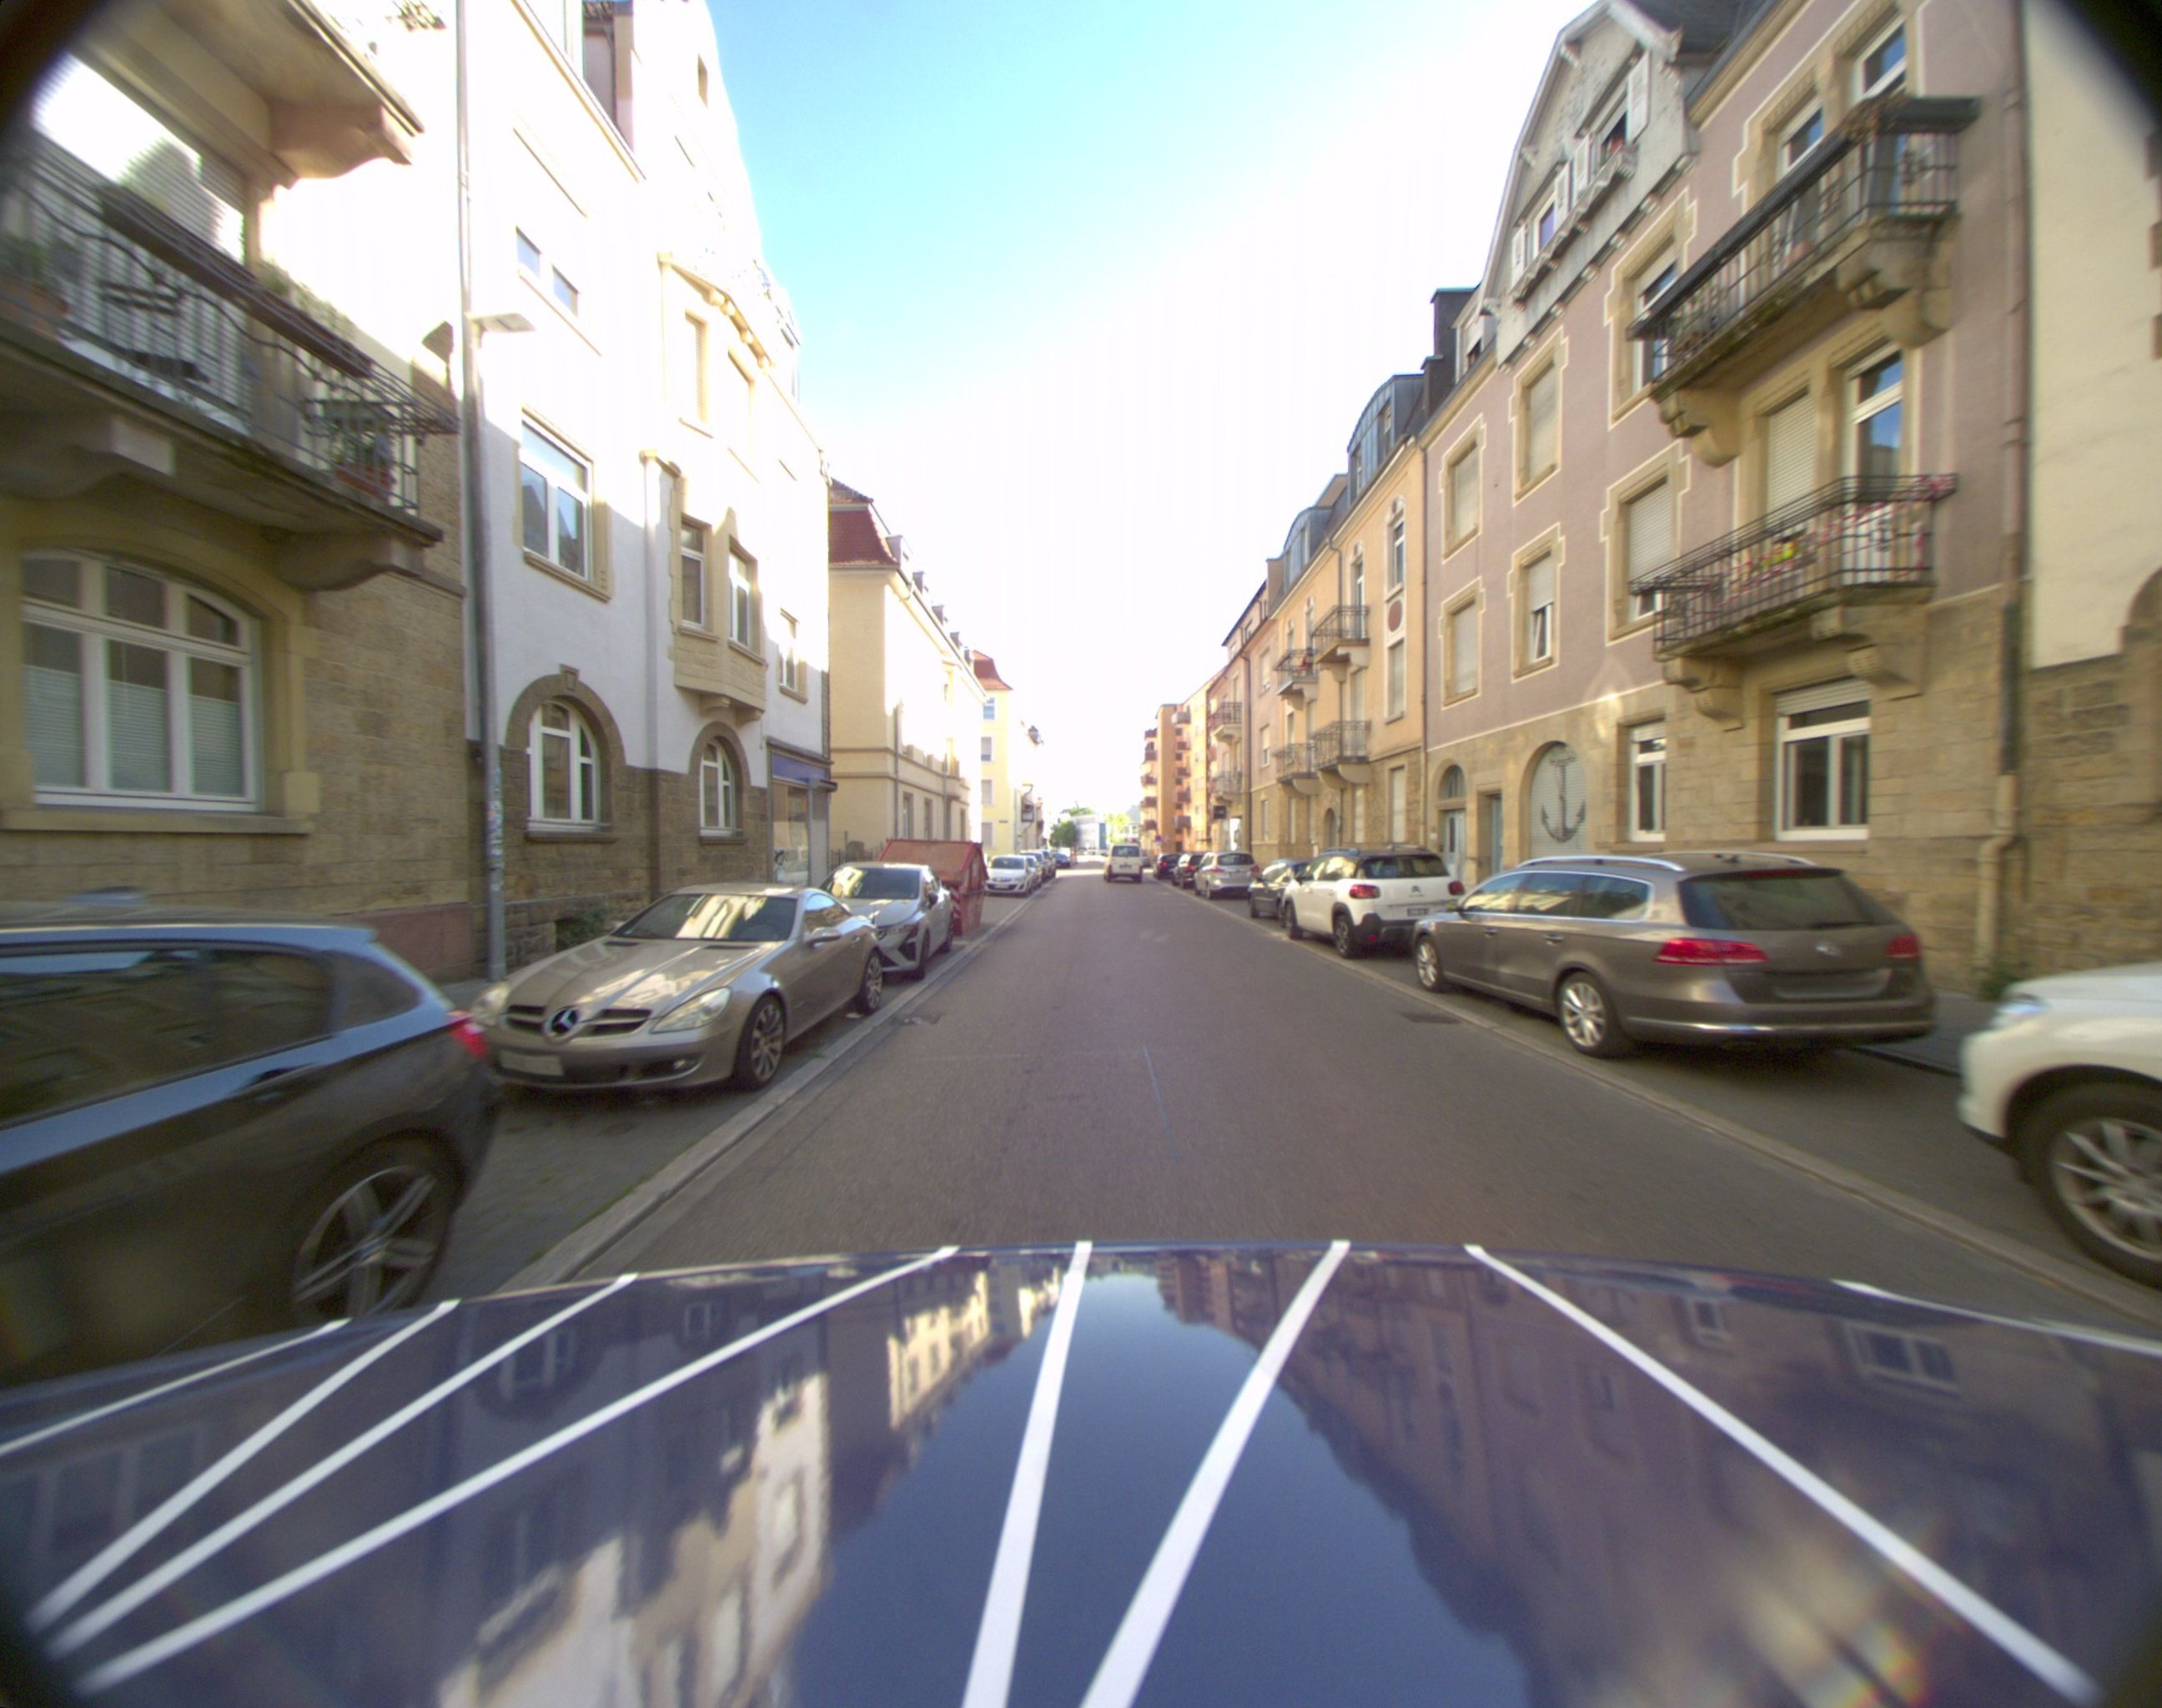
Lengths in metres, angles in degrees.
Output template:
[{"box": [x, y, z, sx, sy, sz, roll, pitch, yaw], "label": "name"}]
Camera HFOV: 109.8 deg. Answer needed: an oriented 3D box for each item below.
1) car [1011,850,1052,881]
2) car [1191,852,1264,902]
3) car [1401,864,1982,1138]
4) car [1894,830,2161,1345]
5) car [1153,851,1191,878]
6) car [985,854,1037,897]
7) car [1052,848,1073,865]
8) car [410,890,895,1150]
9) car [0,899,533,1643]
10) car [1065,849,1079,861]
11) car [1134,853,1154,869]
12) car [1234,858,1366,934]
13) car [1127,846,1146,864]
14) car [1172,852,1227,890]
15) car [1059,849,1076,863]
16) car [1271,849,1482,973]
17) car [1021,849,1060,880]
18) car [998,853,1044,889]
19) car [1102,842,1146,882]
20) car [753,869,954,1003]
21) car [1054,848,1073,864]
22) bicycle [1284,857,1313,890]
[{"box": [-2.505, 0.554, 39.325, 1.684, 1.537, 3.915, 1, 1, 3], "label": "car"}, {"box": [4.883, 0.714, 25.787, 1.719, 1.529, 3.723, -1, 0, -1], "label": "car"}, {"box": [4.498, 0.893, 6.607, 1.578, 1.479, 4.279, -2, 0, 0], "label": "car"}, {"box": [4.491, 0.772, 0.992, 1.896, 1.712, 4.726, -3, 0, 3], "label": "car"}, {"box": [5.068, 0.554, 42.731, 1.719, 1.378, 3.864, -4, 0, 2], "label": "car"}, {"box": [-2.496, 0.733, 27.866, 1.590, 1.456, 3.711, 0, 1, -1], "label": "car"}, {"box": [-1.646, 0.239, 68.117, 1.708, 1.417, 3.721, 1, 1, 0], "label": "car"}, {"box": [-2.921, 1.039, 6.292, 1.697, 1.247, 3.941, 0, 0, 2], "label": "car"}, {"box": [-3.066, 0.919, 0.954, 1.655, 1.434, 4.258, 0, 0, 0], "label": "car"}, {"box": [-1.116, 0.105, 98.355, 1.708, 1.417, 3.721, 1, 1, 0], "label": "car"}, {"box": [5.879, 0.601, 71.285, 1.678, 1.414, 3.500, -1, 0, 1], "label": "car"}, {"box": [4.777, 0.849, 17.078, 1.677, 1.385, 3.665, -4, 0, -3], "label": "car"}, {"box": [5.967, 0.111, 82.103, 1.822, 1.867, 4.111, 0, 0, 1], "label": "car"}, {"box": [4.984, 0.665, 32.443, 1.719, 1.512, 4.109, 0, 1, 0], "label": "car"}, {"box": [-1.391, 0.226, 79.929, 1.708, 1.417, 3.721, 0, 1, -1], "label": "car"}, {"box": [4.491, 0.757, 12.258, 1.719, 1.574, 4.020, -4, 0, -1], "label": "car"}, {"box": [-2.277, 0.575, 43.755, 1.791, 1.655, 4.435, 0, 0, 3], "label": "car"}, {"box": [-2.561, 0.708, 33.256, 1.657, 1.456, 4.094, 0, 0, 1], "label": "car"}, {"box": [2.188, 0.386, 39.784, 1.868, 1.926, 4.598, -1, 1, -2], "label": "car"}, {"box": [-2.916, 0.975, 10.615, 1.791, 1.421, 3.806, -1, 0, -2], "label": "car"}, {"box": [-1.654, 0.177, 73.583, 1.708, 1.417, 3.721, 1, 1, 0], "label": "car"}, {"box": [8.206, 0.706, 28.717, 0.569, 1.205, 1.649, 0, 1, -2], "label": "bicycle"}]
